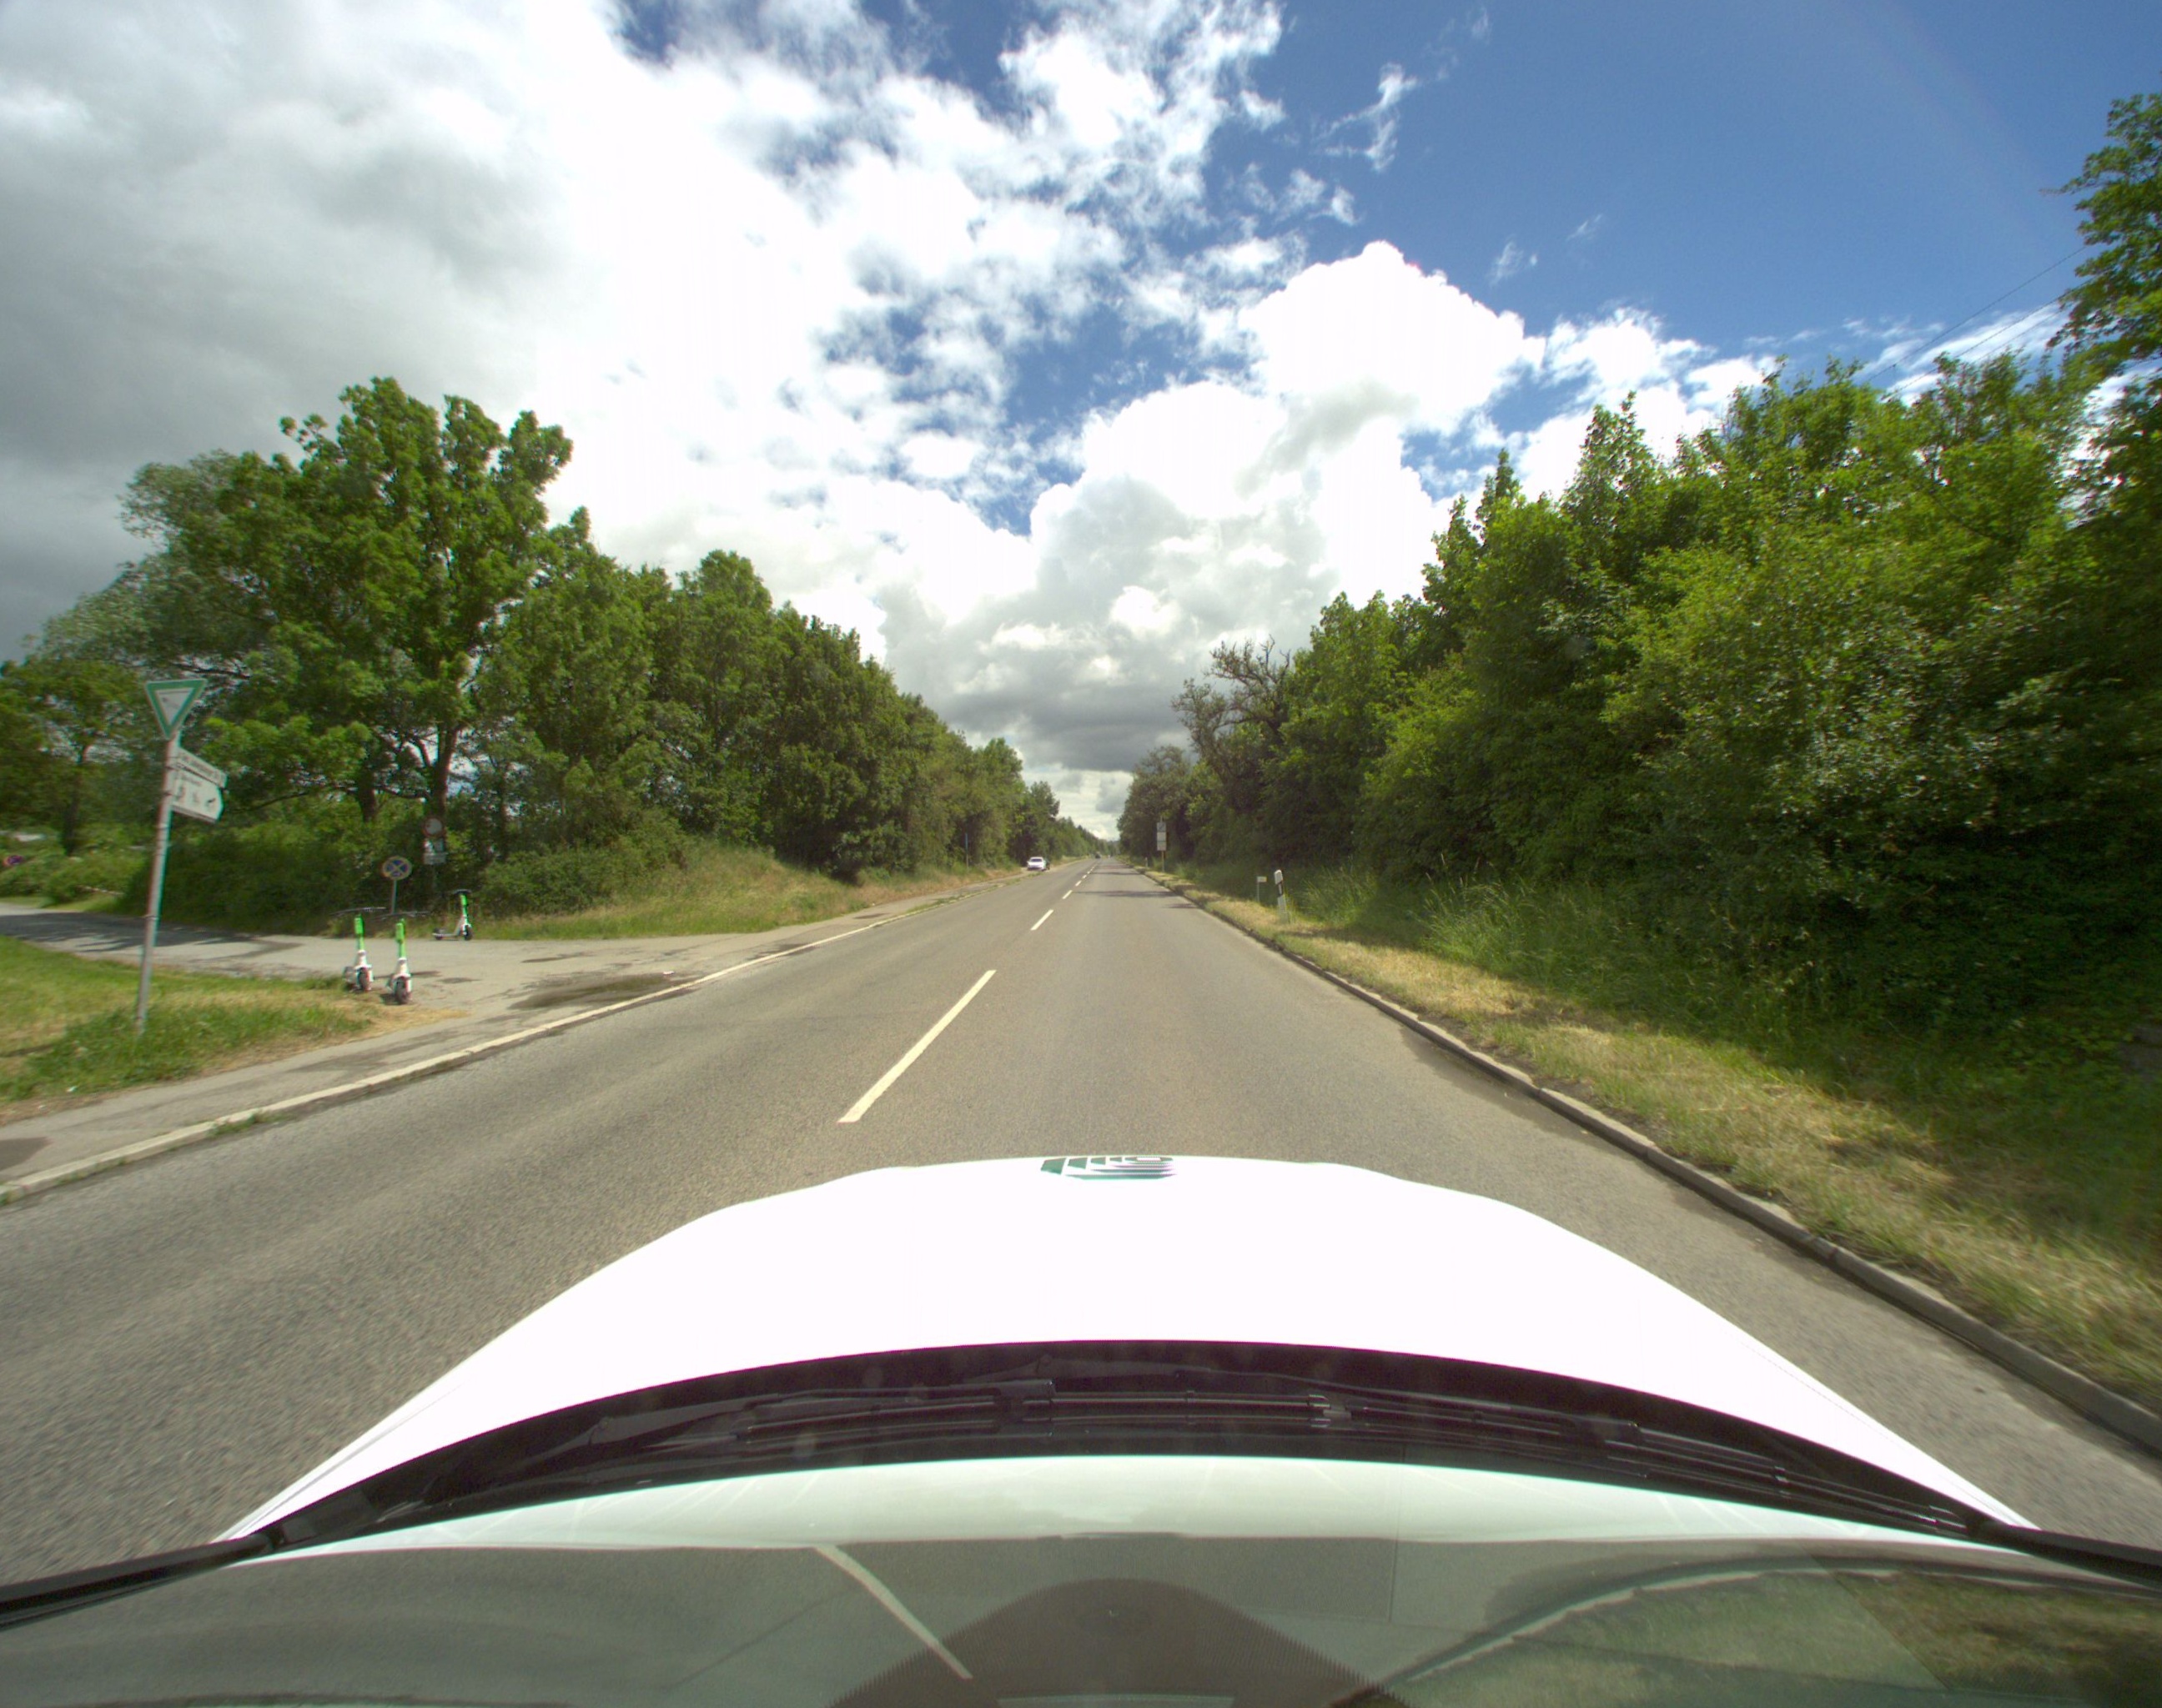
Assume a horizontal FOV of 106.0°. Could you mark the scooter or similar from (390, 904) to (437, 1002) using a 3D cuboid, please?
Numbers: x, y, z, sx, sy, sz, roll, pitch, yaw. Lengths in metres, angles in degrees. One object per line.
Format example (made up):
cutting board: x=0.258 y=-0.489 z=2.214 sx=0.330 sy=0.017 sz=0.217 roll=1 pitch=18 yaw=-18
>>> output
scooter or similar: x=-8.920 y=1.286 z=10.870 sx=0.409 sy=1.168 sz=1.335 roll=-1 pitch=0 yaw=-42

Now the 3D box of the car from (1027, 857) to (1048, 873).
car: x=-4.553 y=1.198 z=86.298 sx=1.791 sy=1.543 sz=3.956 roll=-2 pitch=-1 yaw=2

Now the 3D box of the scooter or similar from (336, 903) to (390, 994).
scooter or similar: x=-10.199 y=1.304 z=11.559 sx=1.334 sy=1.168 sz=0.409 roll=-1 pitch=0 yaw=42

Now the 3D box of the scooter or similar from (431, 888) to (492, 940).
scooter or similar: x=-14.230 y=1.377 z=18.712 sx=1.234 sy=1.168 sz=0.408 roll=-1 pitch=0 yaw=14
